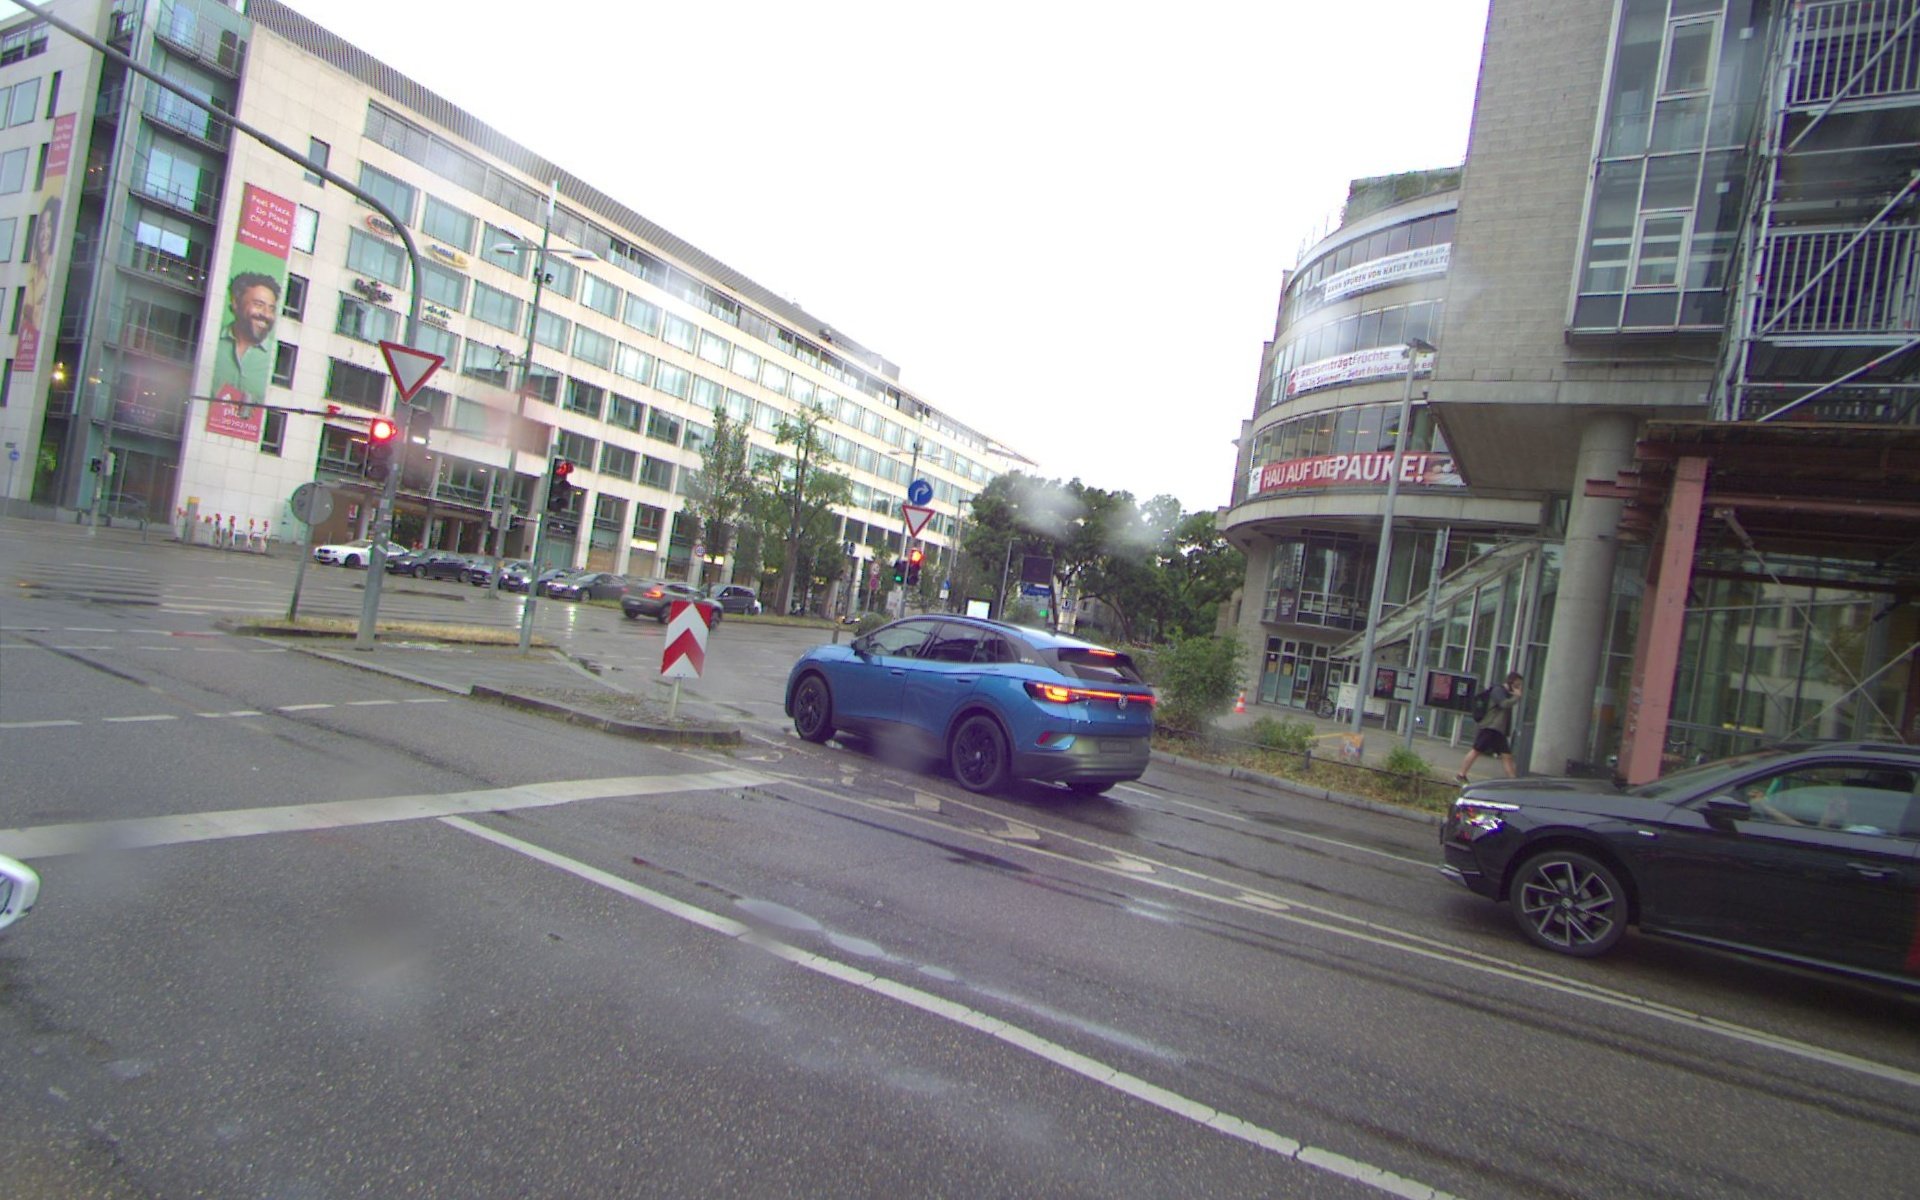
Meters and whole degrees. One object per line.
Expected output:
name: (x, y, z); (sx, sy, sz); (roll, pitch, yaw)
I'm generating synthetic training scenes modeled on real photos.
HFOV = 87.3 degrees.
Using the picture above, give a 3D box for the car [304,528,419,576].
car: (-28.659, -2.281, 48.379); (1.962, 1.616, 4.469); (7, -1, 17)

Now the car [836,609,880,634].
car: (-8.467, 1.780, 83.498); (1.700, 1.642, 4.196); (9, -1, 22)

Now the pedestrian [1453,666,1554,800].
pedestrian: (8.346, 2.023, 15.459); (1.042, 1.874, 0.678); (7, 0, 44)

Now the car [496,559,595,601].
car: (-19.129, -0.888, 46.666); (1.690, 1.364, 4.469); (7, -2, 17)

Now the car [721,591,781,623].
car: (-13.966, 0.507, 67.404); (1.700, 1.642, 4.196); (9, -1, 22)

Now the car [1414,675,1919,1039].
car: (5.229, 1.554, 6.180); (4.080, 1.558, 1.780); (7, -1, 34)

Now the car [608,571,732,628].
car: (-10.693, 0.019, 37.515); (1.963, 1.568, 4.558); (7, -1, 21)

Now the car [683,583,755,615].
car: (-14.317, -0.044, 60.074); (1.891, 1.364, 4.654); (7, -2, 19)

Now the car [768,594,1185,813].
car: (-0.034, 0.953, 10.602); (1.699, 1.547, 4.373); (9, -2, -43)

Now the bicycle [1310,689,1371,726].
bicycle: (13.443, 3.803, 35.617); (1.816, 0.995, 0.757); (8, -1, 12)

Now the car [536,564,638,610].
car: (-16.592, -0.537, 45.001); (1.690, 1.481, 4.468); (7, -2, 19)

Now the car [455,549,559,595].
car: (-21.849, -1.324, 48.710); (1.962, 1.616, 4.469); (7, -1, 17)

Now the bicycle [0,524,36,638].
bicycle: (-10.005, -0.264, 9.210); (0.832, 1.116, 2.154); (7, -1, 7)

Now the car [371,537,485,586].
car: (-25.177, -1.786, 47.783); (1.963, 1.616, 4.468); (7, -1, 20)
